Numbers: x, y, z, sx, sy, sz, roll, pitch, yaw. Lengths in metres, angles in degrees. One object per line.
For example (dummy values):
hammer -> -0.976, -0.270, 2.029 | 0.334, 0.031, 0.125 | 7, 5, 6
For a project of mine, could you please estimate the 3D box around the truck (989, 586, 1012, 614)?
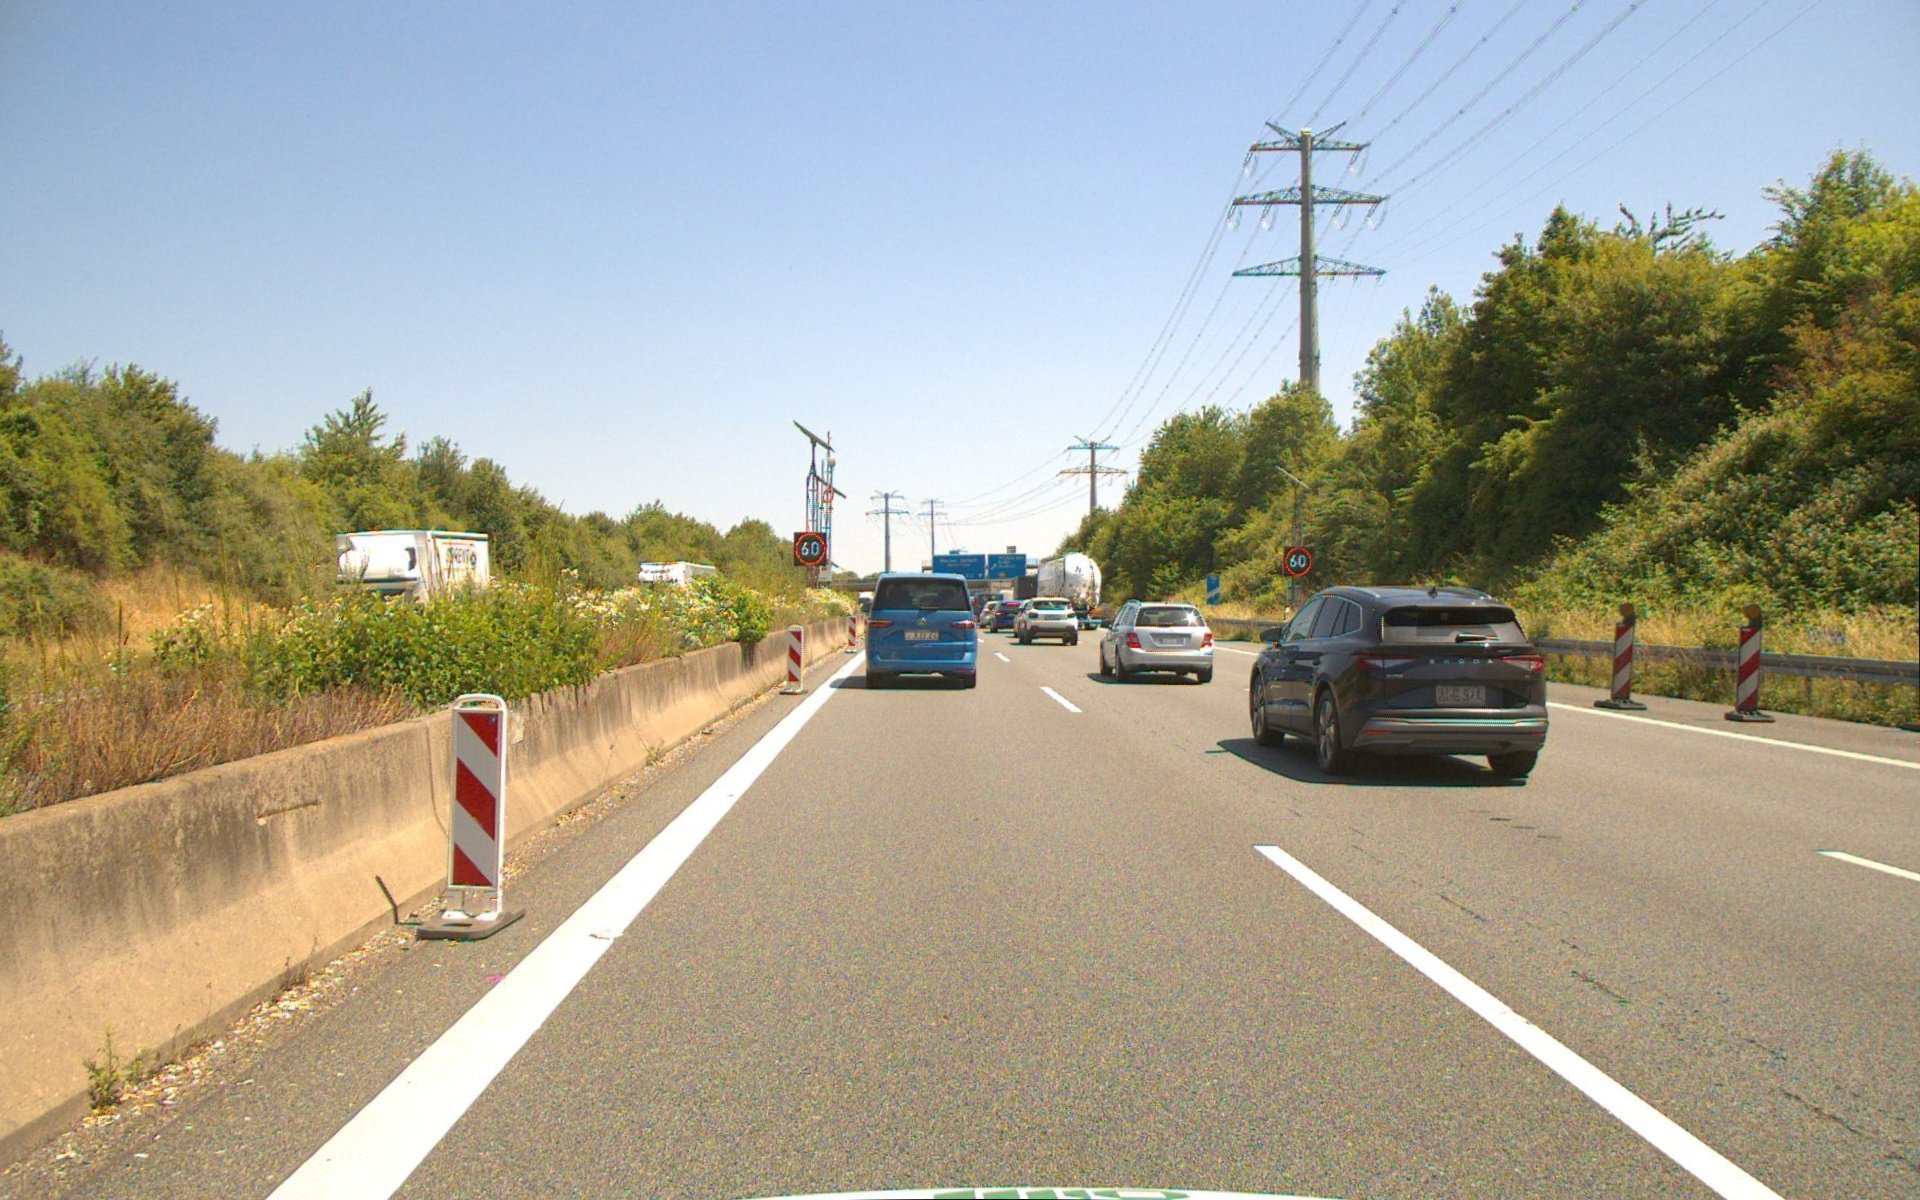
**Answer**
truck -> 3.980, 0.003, 163.451 | 1.953, 2.771, 5.677 | 1, 0, -2

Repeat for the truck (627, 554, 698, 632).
truck -> -17.224, -0.394, 96.037 | 2.956, 4.239, 5.804 | -3, 0, -2

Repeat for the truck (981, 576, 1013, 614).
truck -> 4.327, -0.566, 195.880 | 2.879, 4.366, 12.545 | 1, 0, -2

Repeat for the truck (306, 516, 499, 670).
truck -> -16.094, -0.193, 48.539 | 2.707, 3.956, 9.026 | -3, 0, -2

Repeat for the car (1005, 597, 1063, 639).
car -> 2.950, 0.692, 66.508 | 1.870, 1.597, 4.381 | 1, 0, -3

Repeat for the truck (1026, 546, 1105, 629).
truck -> 5.622, -0.619, 91.320 | 2.591, 4.143, 16.433 | 1, 0, -2

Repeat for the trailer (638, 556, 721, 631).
trailer -> -17.418, -0.395, 103.723 | 2.956, 4.239, 14.016 | -3, 0, -1

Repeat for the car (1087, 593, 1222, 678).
car -> 3.587, 0.628, 31.180 | 1.785, 1.462, 4.381 | 1, 0, -3

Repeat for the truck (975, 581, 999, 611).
truck -> 4.191, -0.610, 257.774 | 2.879, 4.366, 12.545 | 1, 0, -2

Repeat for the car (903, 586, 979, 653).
car -> -0.547, 0.498, 43.402 | 1.870, 1.659, 4.381 | 0, 0, -3

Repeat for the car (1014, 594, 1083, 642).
car -> 2.944, 0.591, 55.563 | 1.870, 1.534, 3.919 | 1, 0, -3

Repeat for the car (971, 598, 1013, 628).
car -> 1.691, 0.683, 88.379 | 1.870, 1.542, 4.381 | 1, 0, -3

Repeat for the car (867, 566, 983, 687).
car -> -0.685, 0.432, 28.867 | 1.834, 1.912, 4.380 | 1, 0, -4

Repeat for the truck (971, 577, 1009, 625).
truck -> 1.819, 0.062, 101.295 | 1.953, 2.771, 5.677 | 1, 0, -2

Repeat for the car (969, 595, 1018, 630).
car -> 1.504, 0.551, 75.767 | 1.870, 1.542, 4.381 | 1, 0, -3

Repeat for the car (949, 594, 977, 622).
car -> 0.199, 0.576, 125.740 | 1.953, 2.049, 3.998 | 1, 0, -2

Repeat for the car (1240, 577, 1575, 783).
car -> 3.988, 0.634, 15.536 | 1.791, 1.642, 4.429 | 1, 0, -2

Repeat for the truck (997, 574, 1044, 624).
truck -> 4.540, -0.108, 127.058 | 2.591, 3.600, 12.545 | 1, 0, -2
